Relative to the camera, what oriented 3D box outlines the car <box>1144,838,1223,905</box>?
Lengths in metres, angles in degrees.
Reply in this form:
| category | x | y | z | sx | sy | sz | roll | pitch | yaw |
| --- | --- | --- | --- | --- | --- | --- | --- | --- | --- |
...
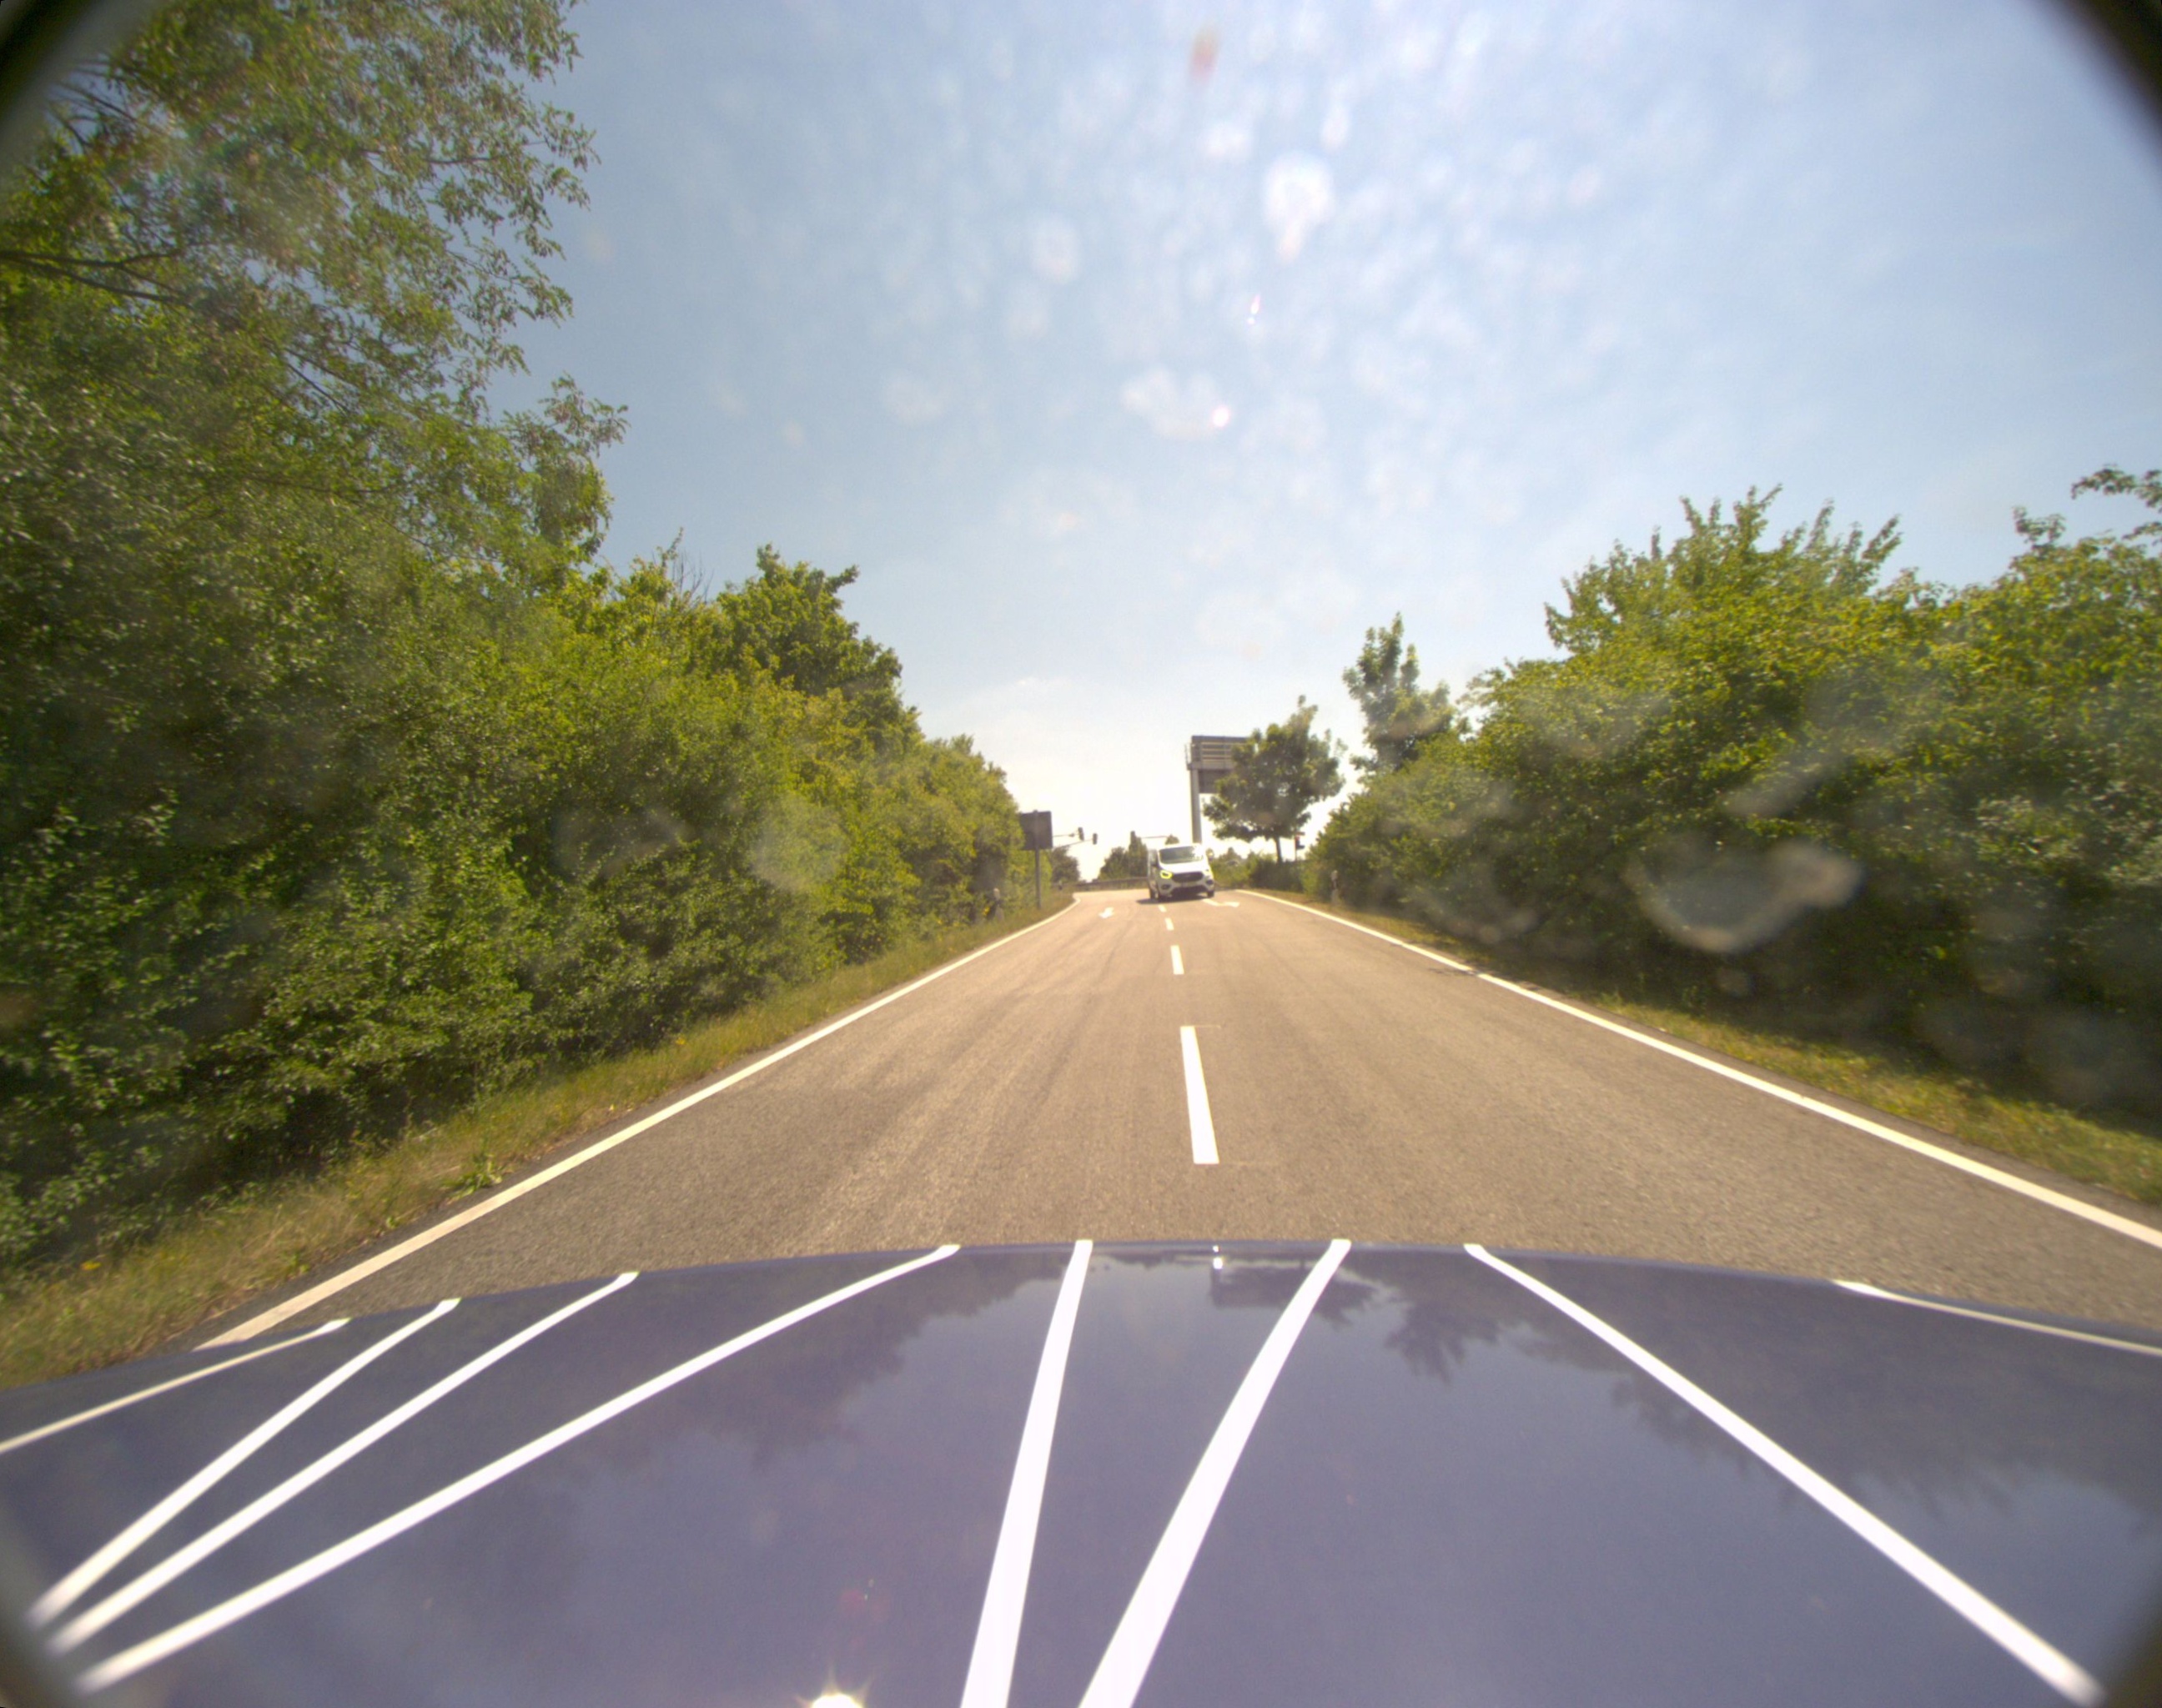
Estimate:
| category | x | y | z | sx | sy | sz | roll | pitch | yaw |
| --- | --- | --- | --- | --- | --- | --- | --- | --- | --- |
| car | 3.612 | 0.601 | 27.971 | 2.030 | 2.072 | 5.873 | -4 | 0 | 1 |
